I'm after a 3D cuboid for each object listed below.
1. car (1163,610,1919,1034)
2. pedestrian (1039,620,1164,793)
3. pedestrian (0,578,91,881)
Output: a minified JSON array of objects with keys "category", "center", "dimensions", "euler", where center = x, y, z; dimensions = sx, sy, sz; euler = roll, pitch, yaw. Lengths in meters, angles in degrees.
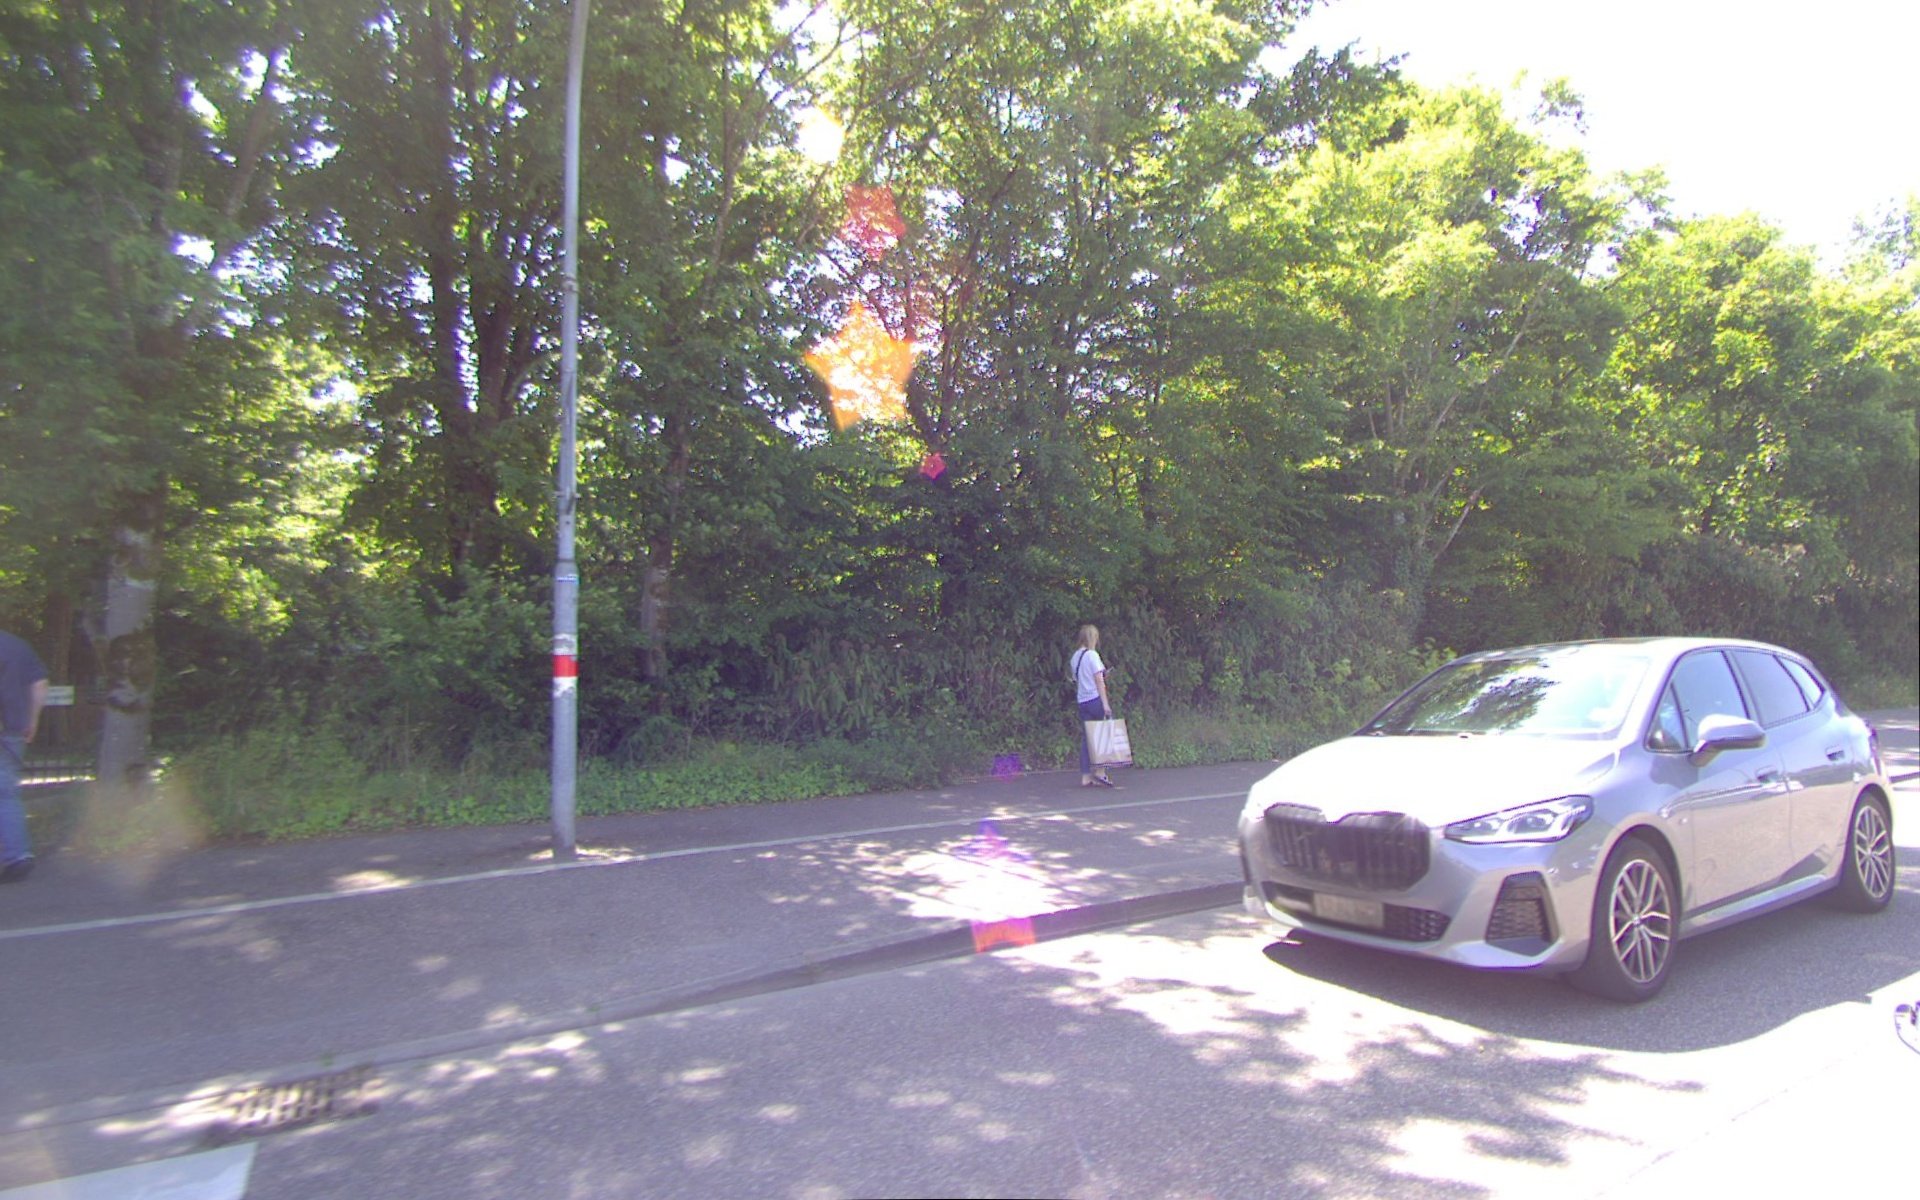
[{"category":"car","center":[3.356,0.965,5.643],"dimensions":[4.150,1.551,1.882],"euler":[2,-7,-32]},{"category":"pedestrian","center":[1.420,1.036,10.144],"dimensions":[0.876,1.633,0.927],"euler":[2,-2,-31]},{"category":"pedestrian","center":[-6.148,0.769,6.217],"dimensions":[1.013,1.774,1.148],"euler":[0,-1,-34]}]
